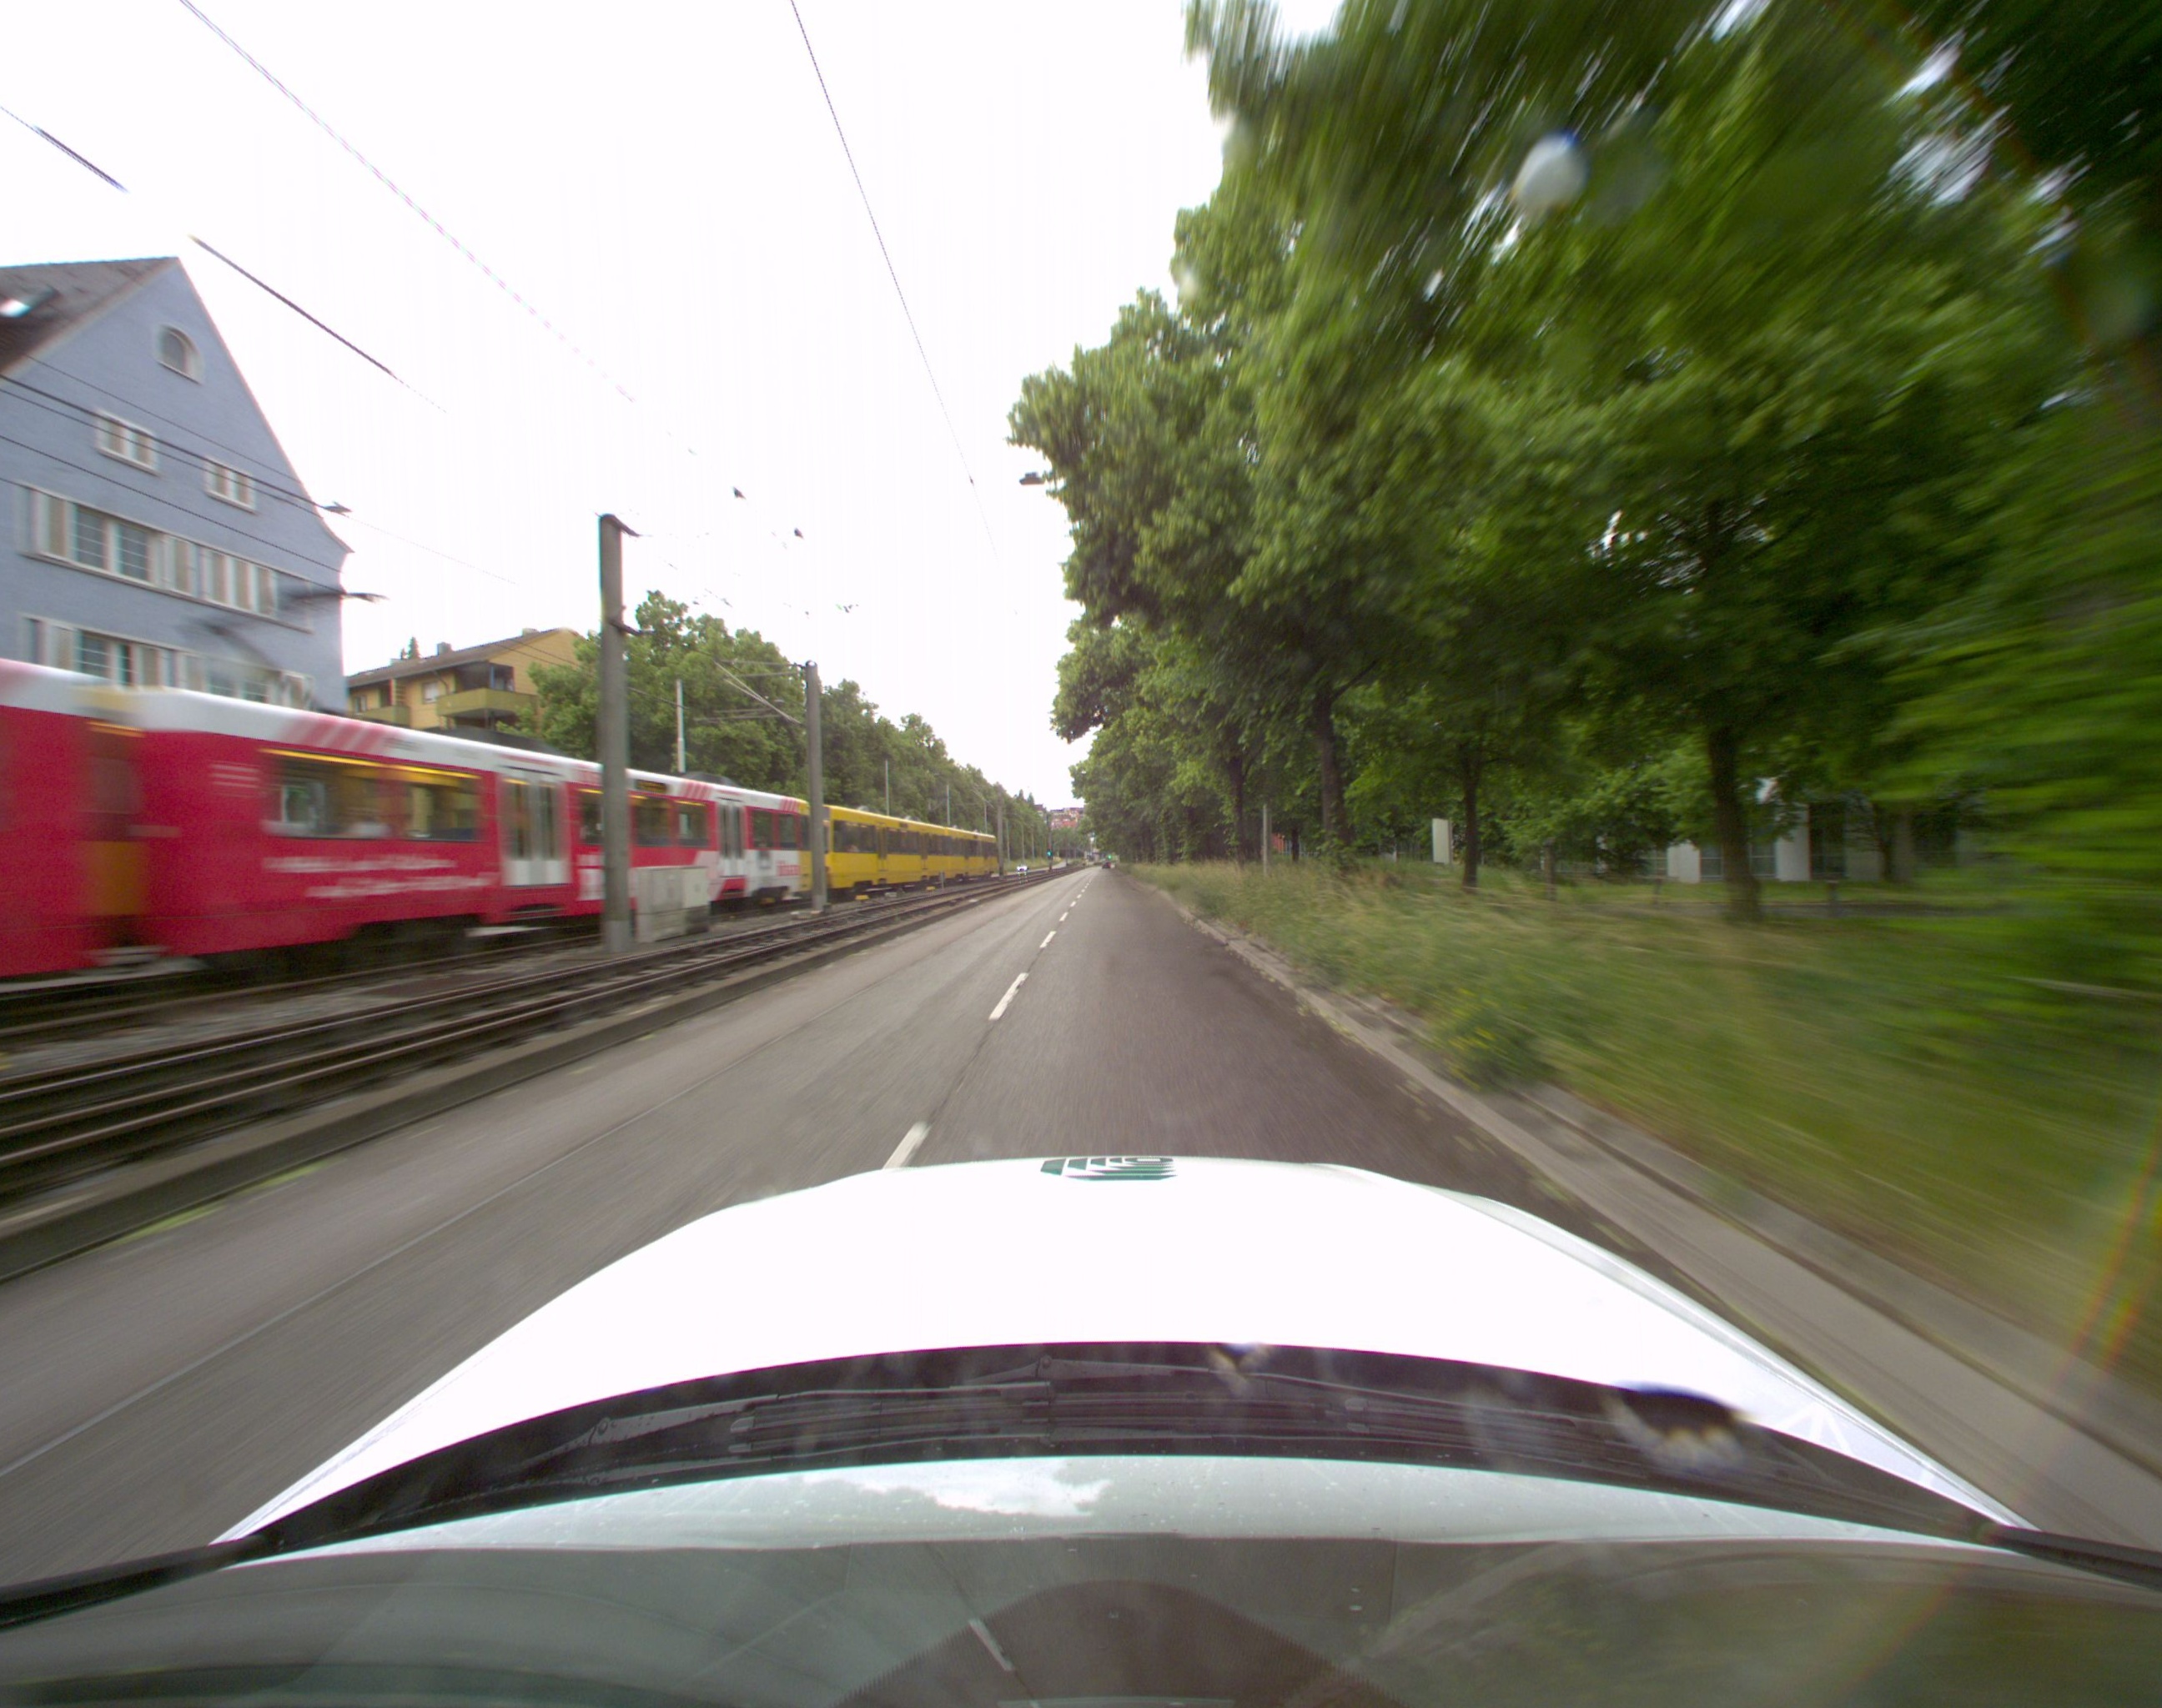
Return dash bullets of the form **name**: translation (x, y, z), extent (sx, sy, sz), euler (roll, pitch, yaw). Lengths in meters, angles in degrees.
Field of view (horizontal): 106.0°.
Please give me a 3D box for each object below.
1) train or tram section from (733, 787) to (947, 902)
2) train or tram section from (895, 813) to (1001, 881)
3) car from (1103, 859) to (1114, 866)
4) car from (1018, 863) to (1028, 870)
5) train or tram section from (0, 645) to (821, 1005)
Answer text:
- **train or tram section**: translation (-9.678, -0.355, 36.936), extent (2.955, 3.811, 19.115), euler (-1, 0, 3)
- **train or tram section**: translation (-8.546, -0.419, 56.228), extent (2.955, 3.811, 19.536), euler (-1, 0, 3)
- **car**: translation (5.760, 1.832, 172.303), extent (2.186, 1.329, 4.001), euler (-1, 0, 1)
- **car**: translation (-11.365, 2.459, 161.007), extent (1.470, 1.436, 3.911), euler (-3, -1, 2)
- **train or tram section**: translation (-10.753, -0.317, 18.038), extent (2.955, 3.811, 18.630), euler (-1, 0, 3)
